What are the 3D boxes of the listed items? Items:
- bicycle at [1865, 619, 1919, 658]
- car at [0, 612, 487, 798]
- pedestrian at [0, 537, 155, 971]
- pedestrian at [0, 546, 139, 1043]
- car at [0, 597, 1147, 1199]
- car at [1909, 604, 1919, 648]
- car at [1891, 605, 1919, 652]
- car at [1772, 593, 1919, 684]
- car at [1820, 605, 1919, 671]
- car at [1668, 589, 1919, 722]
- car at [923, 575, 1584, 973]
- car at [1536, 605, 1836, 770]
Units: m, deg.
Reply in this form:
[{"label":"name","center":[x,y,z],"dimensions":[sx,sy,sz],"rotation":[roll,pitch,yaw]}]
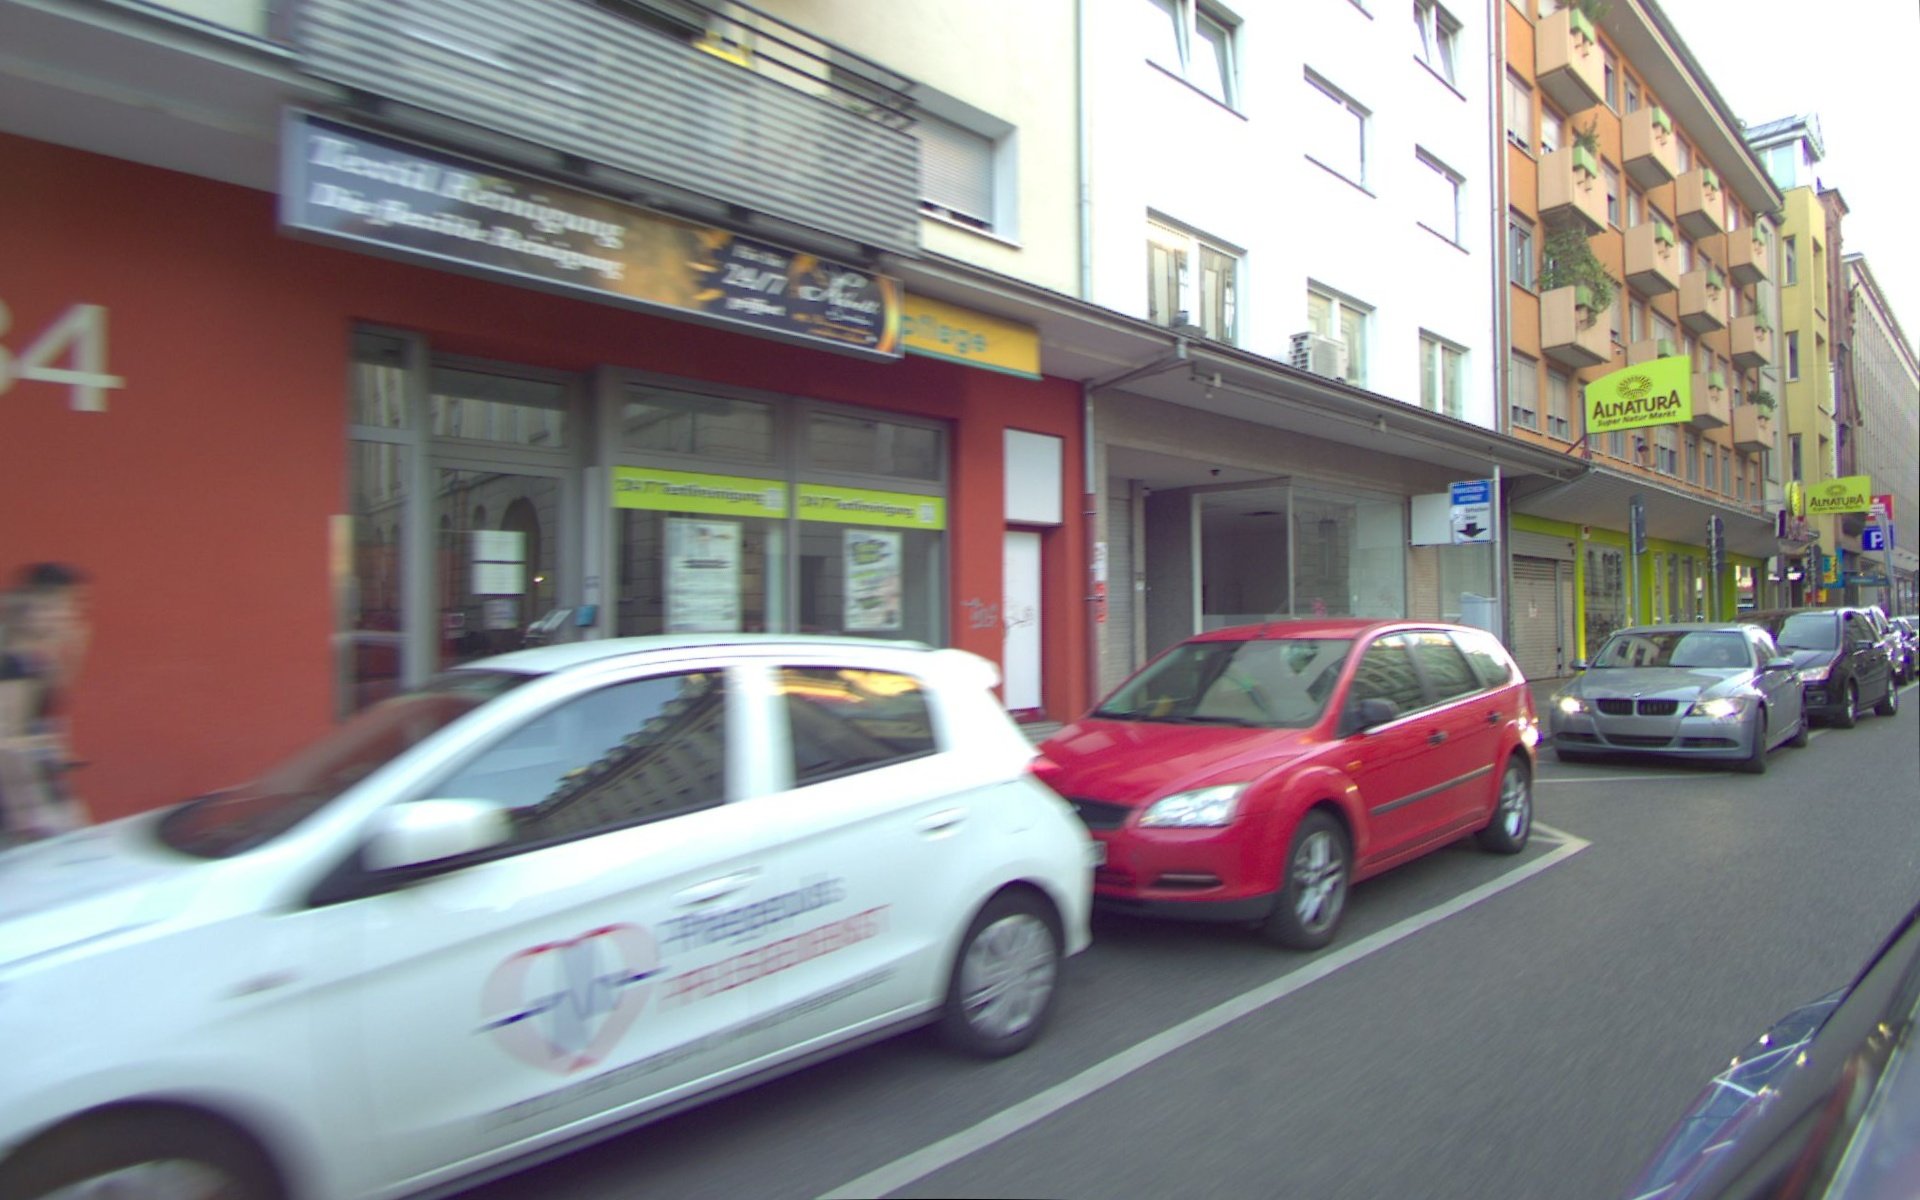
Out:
[{"label":"bicycle","center":[27.001,1.092,28.816],"dimensions":[1.708,1.069,0.658],"rotation":[-1,-2,8]},{"label":"car","center":[-6.559,0.798,9.044],"dimensions":[3.928,1.354,1.743],"rotation":[1,-1,-39]},{"label":"pedestrian","center":[-3.852,0.585,4.199],"dimensions":[0.779,1.682,0.649],"rotation":[1,1,-39]},{"label":"pedestrian","center":[-3.416,0.649,3.683],"dimensions":[0.643,1.682,0.649],"rotation":[1,1,-39]},{"label":"car","center":[-1.327,0.812,3.235],"dimensions":[3.976,1.532,1.608],"rotation":[1,-4,-41]},{"label":"car","center":[35.224,0.896,36.099],"dimensions":[4.102,1.536,1.619],"rotation":[1,-4,-43]},{"label":"car","center":[31.443,0.897,32.702],"dimensions":[4.562,1.430,1.692],"rotation":[1,-4,-44]},{"label":"car","center":[18.472,0.776,20.931],"dimensions":[4.673,1.690,1.754],"rotation":[1,-4,-41]},{"label":"car","center":[22.130,0.885,24.163],"dimensions":[4.673,1.433,1.693],"rotation":[1,-4,-41]},{"label":"car","center":[12.035,0.743,14.481],"dimensions":[4.403,1.631,1.798],"rotation":[1,-4,-37]},{"label":"car","center":[2.066,0.738,6.123],"dimensions":[4.573,1.532,1.713],"rotation":[1,-4,-43]},{"label":"car","center":[8.041,0.831,11.020],"dimensions":[4.603,1.434,1.738],"rotation":[1,-4,-43]}]
